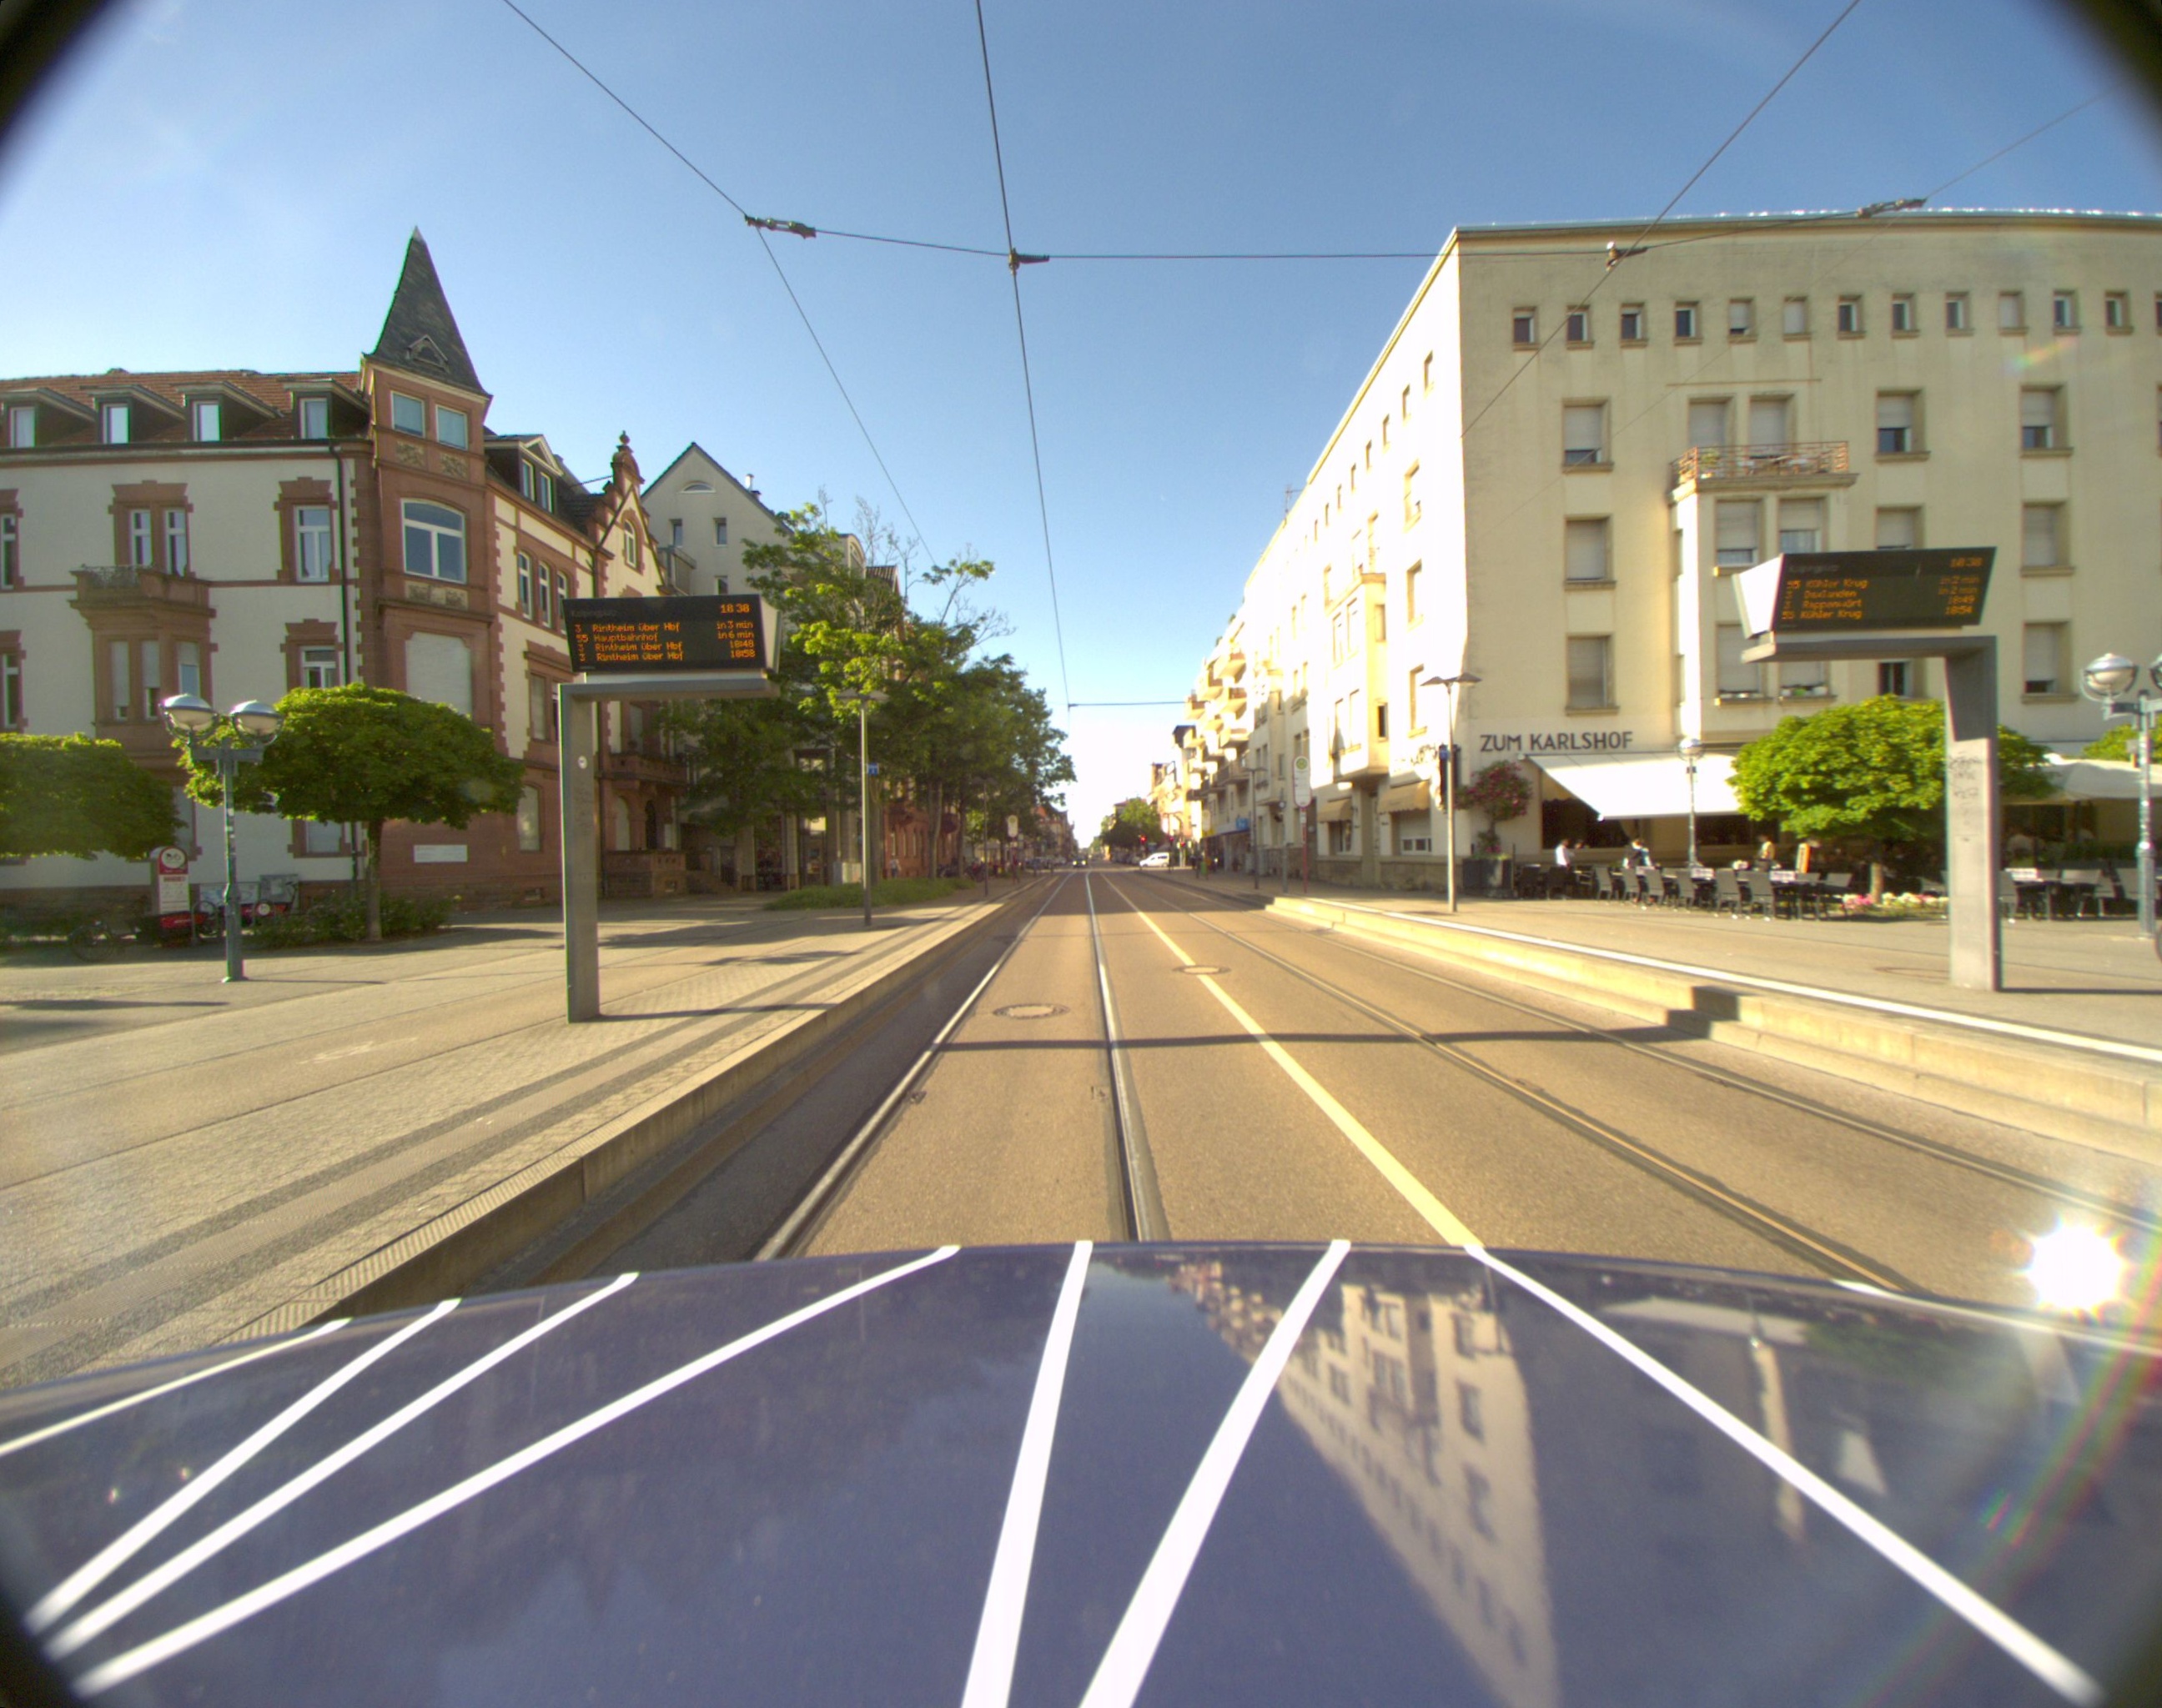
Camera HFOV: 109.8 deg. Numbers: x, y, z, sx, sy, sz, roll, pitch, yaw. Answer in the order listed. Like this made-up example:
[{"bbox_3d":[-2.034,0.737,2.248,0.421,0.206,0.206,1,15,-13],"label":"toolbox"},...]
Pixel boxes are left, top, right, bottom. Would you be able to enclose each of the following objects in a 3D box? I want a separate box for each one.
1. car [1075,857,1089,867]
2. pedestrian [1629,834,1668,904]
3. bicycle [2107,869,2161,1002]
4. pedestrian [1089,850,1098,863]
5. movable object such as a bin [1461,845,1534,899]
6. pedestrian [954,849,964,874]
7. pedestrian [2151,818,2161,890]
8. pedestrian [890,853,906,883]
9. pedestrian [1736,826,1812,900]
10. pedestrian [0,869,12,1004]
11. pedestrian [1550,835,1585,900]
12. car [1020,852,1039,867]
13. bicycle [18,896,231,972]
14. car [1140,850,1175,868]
[{"bbox_3d":[0.181,1.116,107.992,1.998,1.318,3.863,-1,0,1],"label":"car"},{"bbox_3d":[13.743,0.374,18.406,0.672,1.634,0.678,-2,-3,41],"label":"pedestrian"},{"bbox_3d":[9.623,0.693,5.802,0.714,1.119,2.034,-1,0,-7],"label":"bicycle"},{"bbox_3d":[1.957,0.389,118.554,1.334,1.990,1.138,-1,1,1],"label":"pedestrian"},{"bbox_3d":[11.174,0.470,20.425,1.319,1.392,1.128,-1,1,-1],"label":"movable object such as a bin"},{"bbox_3d":[-10.017,0.626,62.220,0.653,2.002,0.559,-1,1,3],"label":"pedestrian"},{"bbox_3d":[27.396,-0.012,19.047,0.578,1.813,0.647,-2,1,-36],"label":"pedestrian"},{"bbox_3d":[-10.746,0.828,44.578,0.742,1.725,0.877,-2,1,-6],"label":"pedestrian"},{"bbox_3d":[15.994,0.203,17.556,1.066,1.635,0.756,-1,1,-4],"label":"pedestrian"},{"bbox_3d":[-13.806,1.031,8.906,1.070,1.659,0.956,-2,1,-12],"label":"pedestrian"},{"bbox_3d":[12.625,0.367,19.733,0.672,1.634,0.752,-1,-2,27],"label":"pedestrian"},{"bbox_3d":[-7.143,0.684,105.759,1.998,2.002,4.001,-1,0,4],"label":"car"},{"bbox_3d":[-18.207,1.464,14.629,0.790,1.062,2.804,-2,2,-8],"label":"bicycle"},{"bbox_3d":[9.493,0.610,94.164,3.991,2.105,1.881,-1,1,19],"label":"car"}]
